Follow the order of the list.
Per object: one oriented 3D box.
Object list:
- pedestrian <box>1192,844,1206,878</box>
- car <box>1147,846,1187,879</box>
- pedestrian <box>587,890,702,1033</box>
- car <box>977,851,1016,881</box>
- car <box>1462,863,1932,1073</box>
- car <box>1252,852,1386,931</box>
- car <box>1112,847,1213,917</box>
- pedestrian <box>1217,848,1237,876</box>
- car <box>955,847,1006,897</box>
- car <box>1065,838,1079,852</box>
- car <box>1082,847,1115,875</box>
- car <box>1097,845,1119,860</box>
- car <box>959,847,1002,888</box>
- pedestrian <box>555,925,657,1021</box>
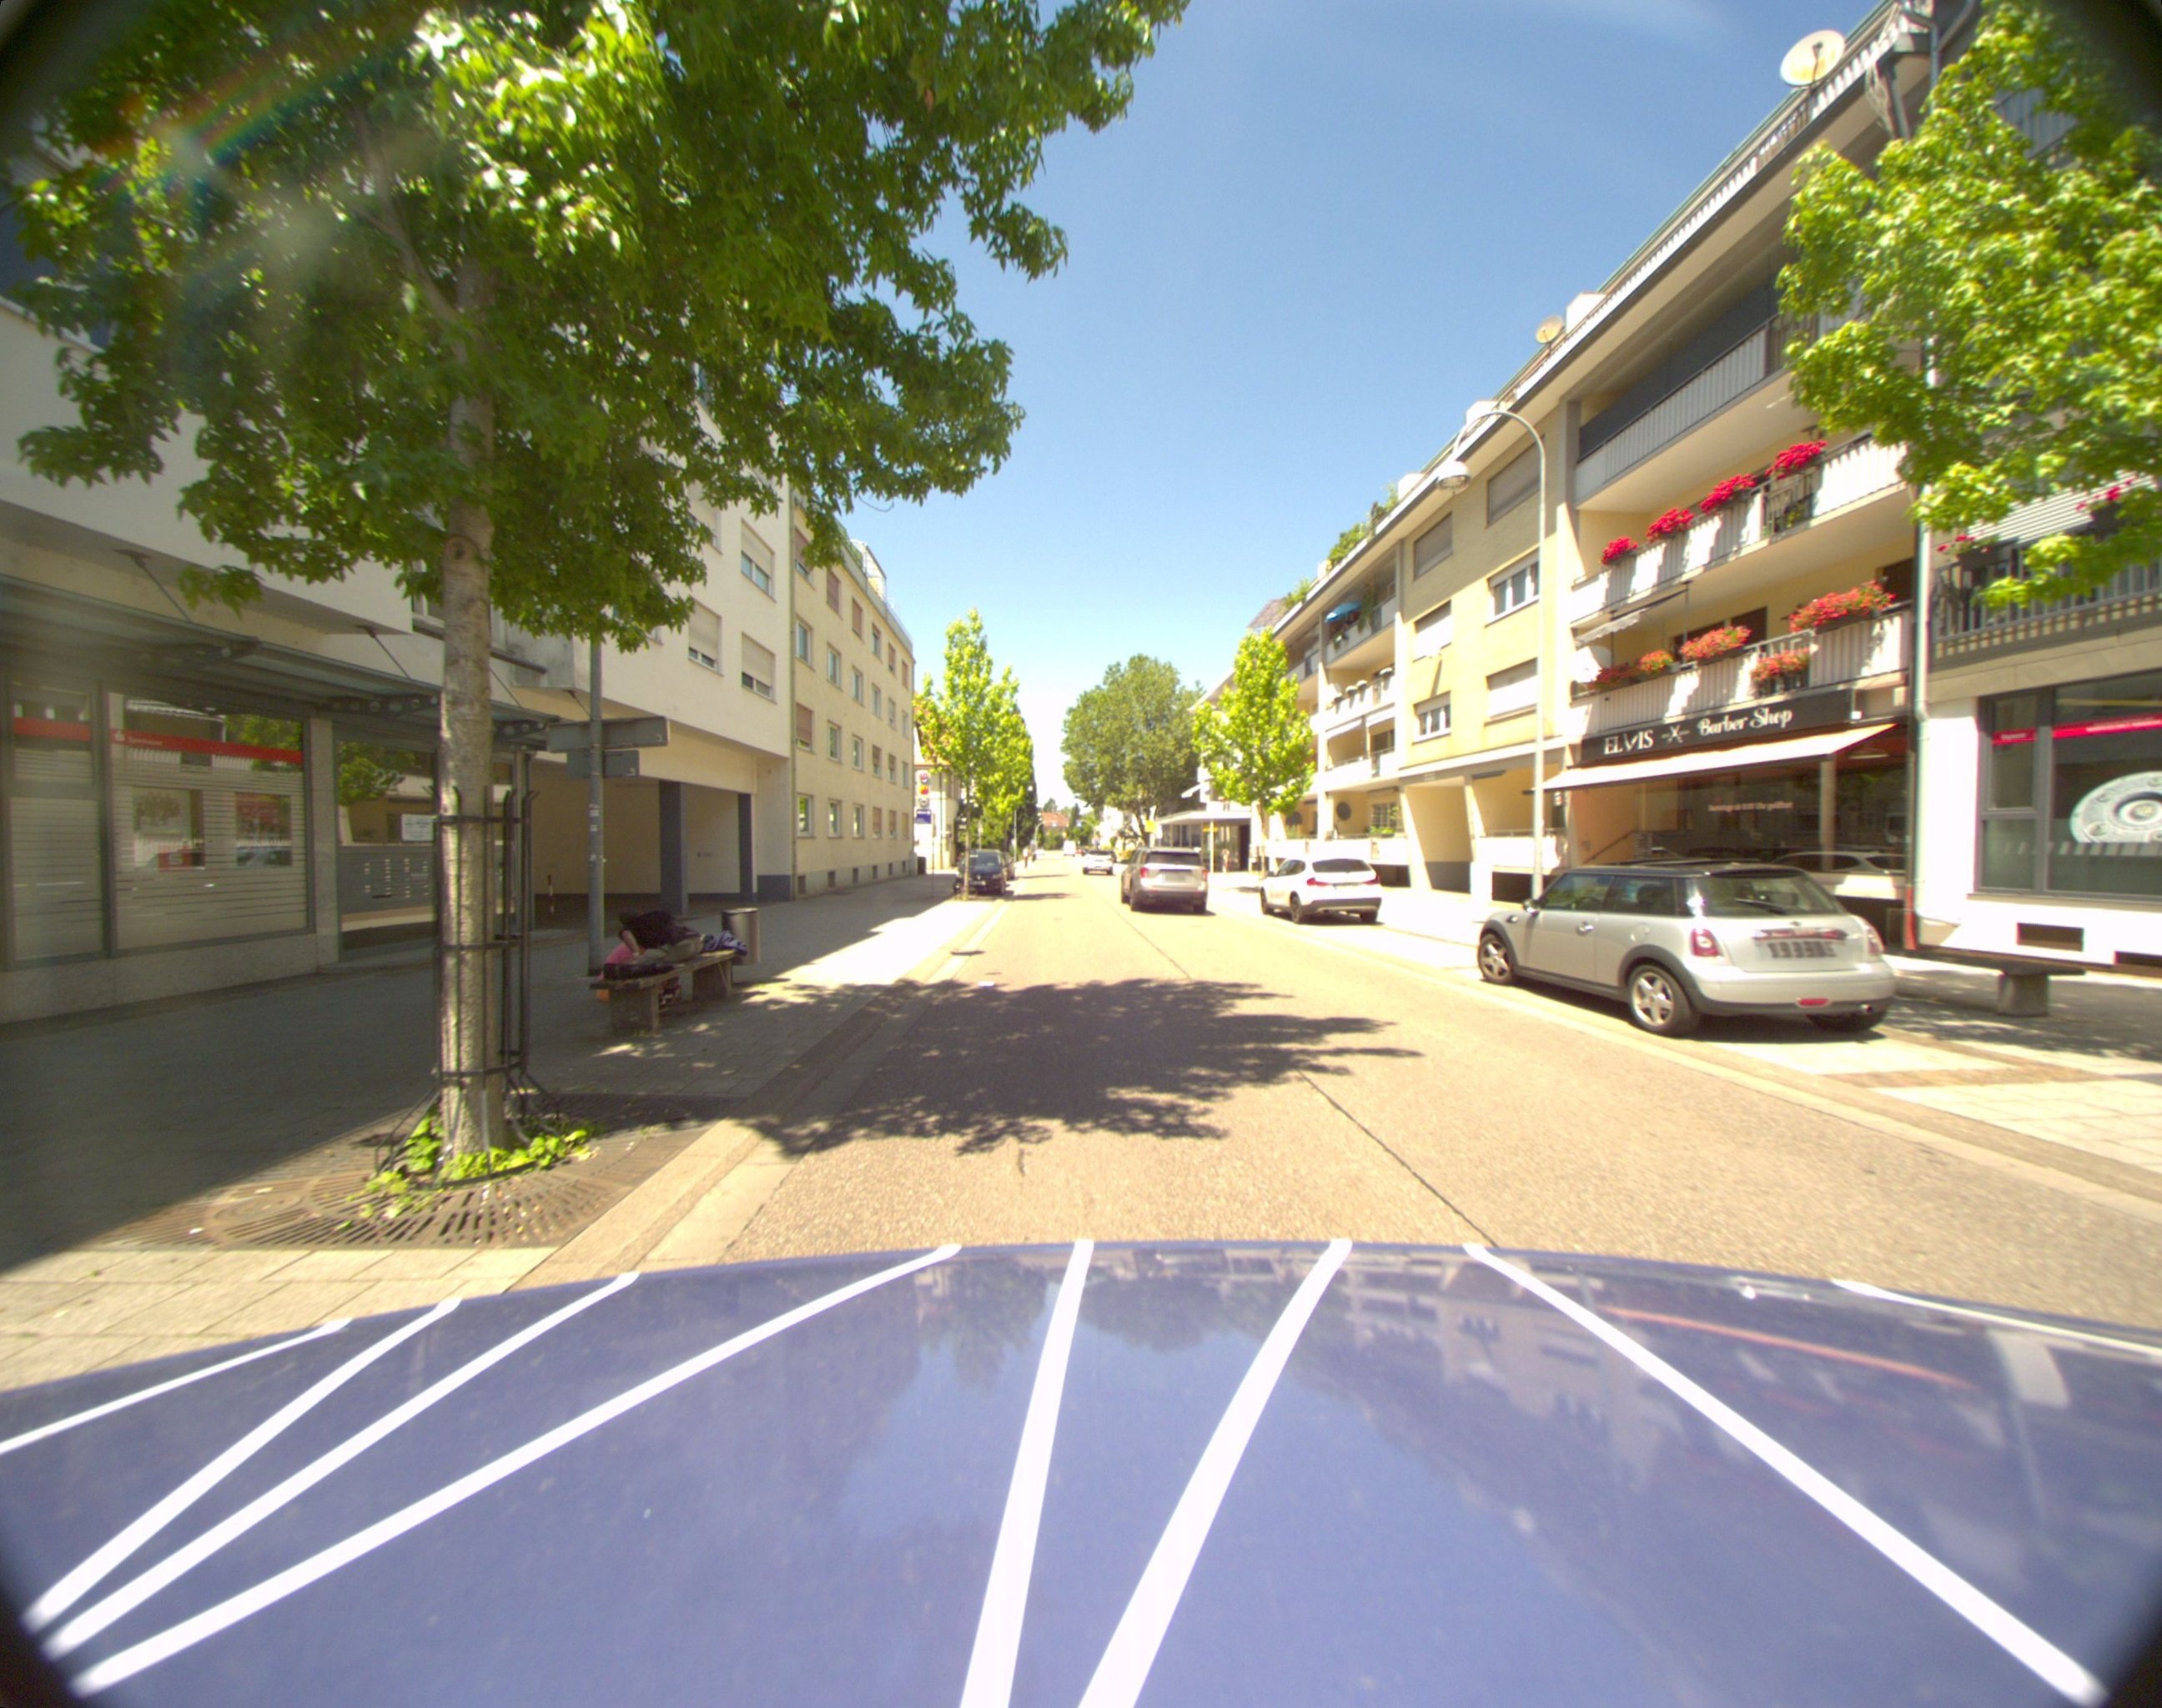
[{"bbox_3d":[6.229,0.361,40.065,0.667,1.794,0.686,0,1,13],"label":"pedestrian"},{"bbox_3d":[4.689,0.419,41.667,1.645,1.652,3.369,-2,1,-2],"label":"car"},{"bbox_3d":[-4.086,0.980,7.137,0.761,1.233,0.538,1,1,12],"label":"pedestrian"},{"bbox_3d":[-4.439,0.597,40.361,1.693,1.479,4.133,0,1,-2],"label":"car"},{"bbox_3d":[5.450,0.859,7.393,1.626,1.465,3.547,0,1,-2],"label":"car"},{"bbox_3d":[5.442,0.768,17.988,1.699,1.583,4.298,-2,1,-2],"label":"car"},{"bbox_3d":[2.132,0.678,21.300,1.906,1.744,4.754,1,1,-5],"label":"car"},{"bbox_3d":[7.807,0.440,40.664,0.780,1.490,0.696,0,1,-17],"label":"pedestrian"},{"bbox_3d":[-3.741,0.615,28.732,1.693,1.712,3.998,2,0,-5],"label":"car"},{"bbox_3d":[-1.614,-1.601,134.153,2.232,2.452,5.247,0,1,-2],"label":"car"},{"bbox_3d":[1.042,0.402,47.304,1.776,1.623,4.298,0,0,-2],"label":"car"},{"bbox_3d":[2.774,-0.149,79.398,1.999,1.499,3.999,0,1,-2],"label":"car"},{"bbox_3d":[-4.487,0.555,34.424,1.693,1.712,4.131,0,1,-5],"label":"car"},{"bbox_3d":[-4.759,1.175,7.636,0.678,0.847,0.538,1,1,12],"label":"pedestrian"}]
